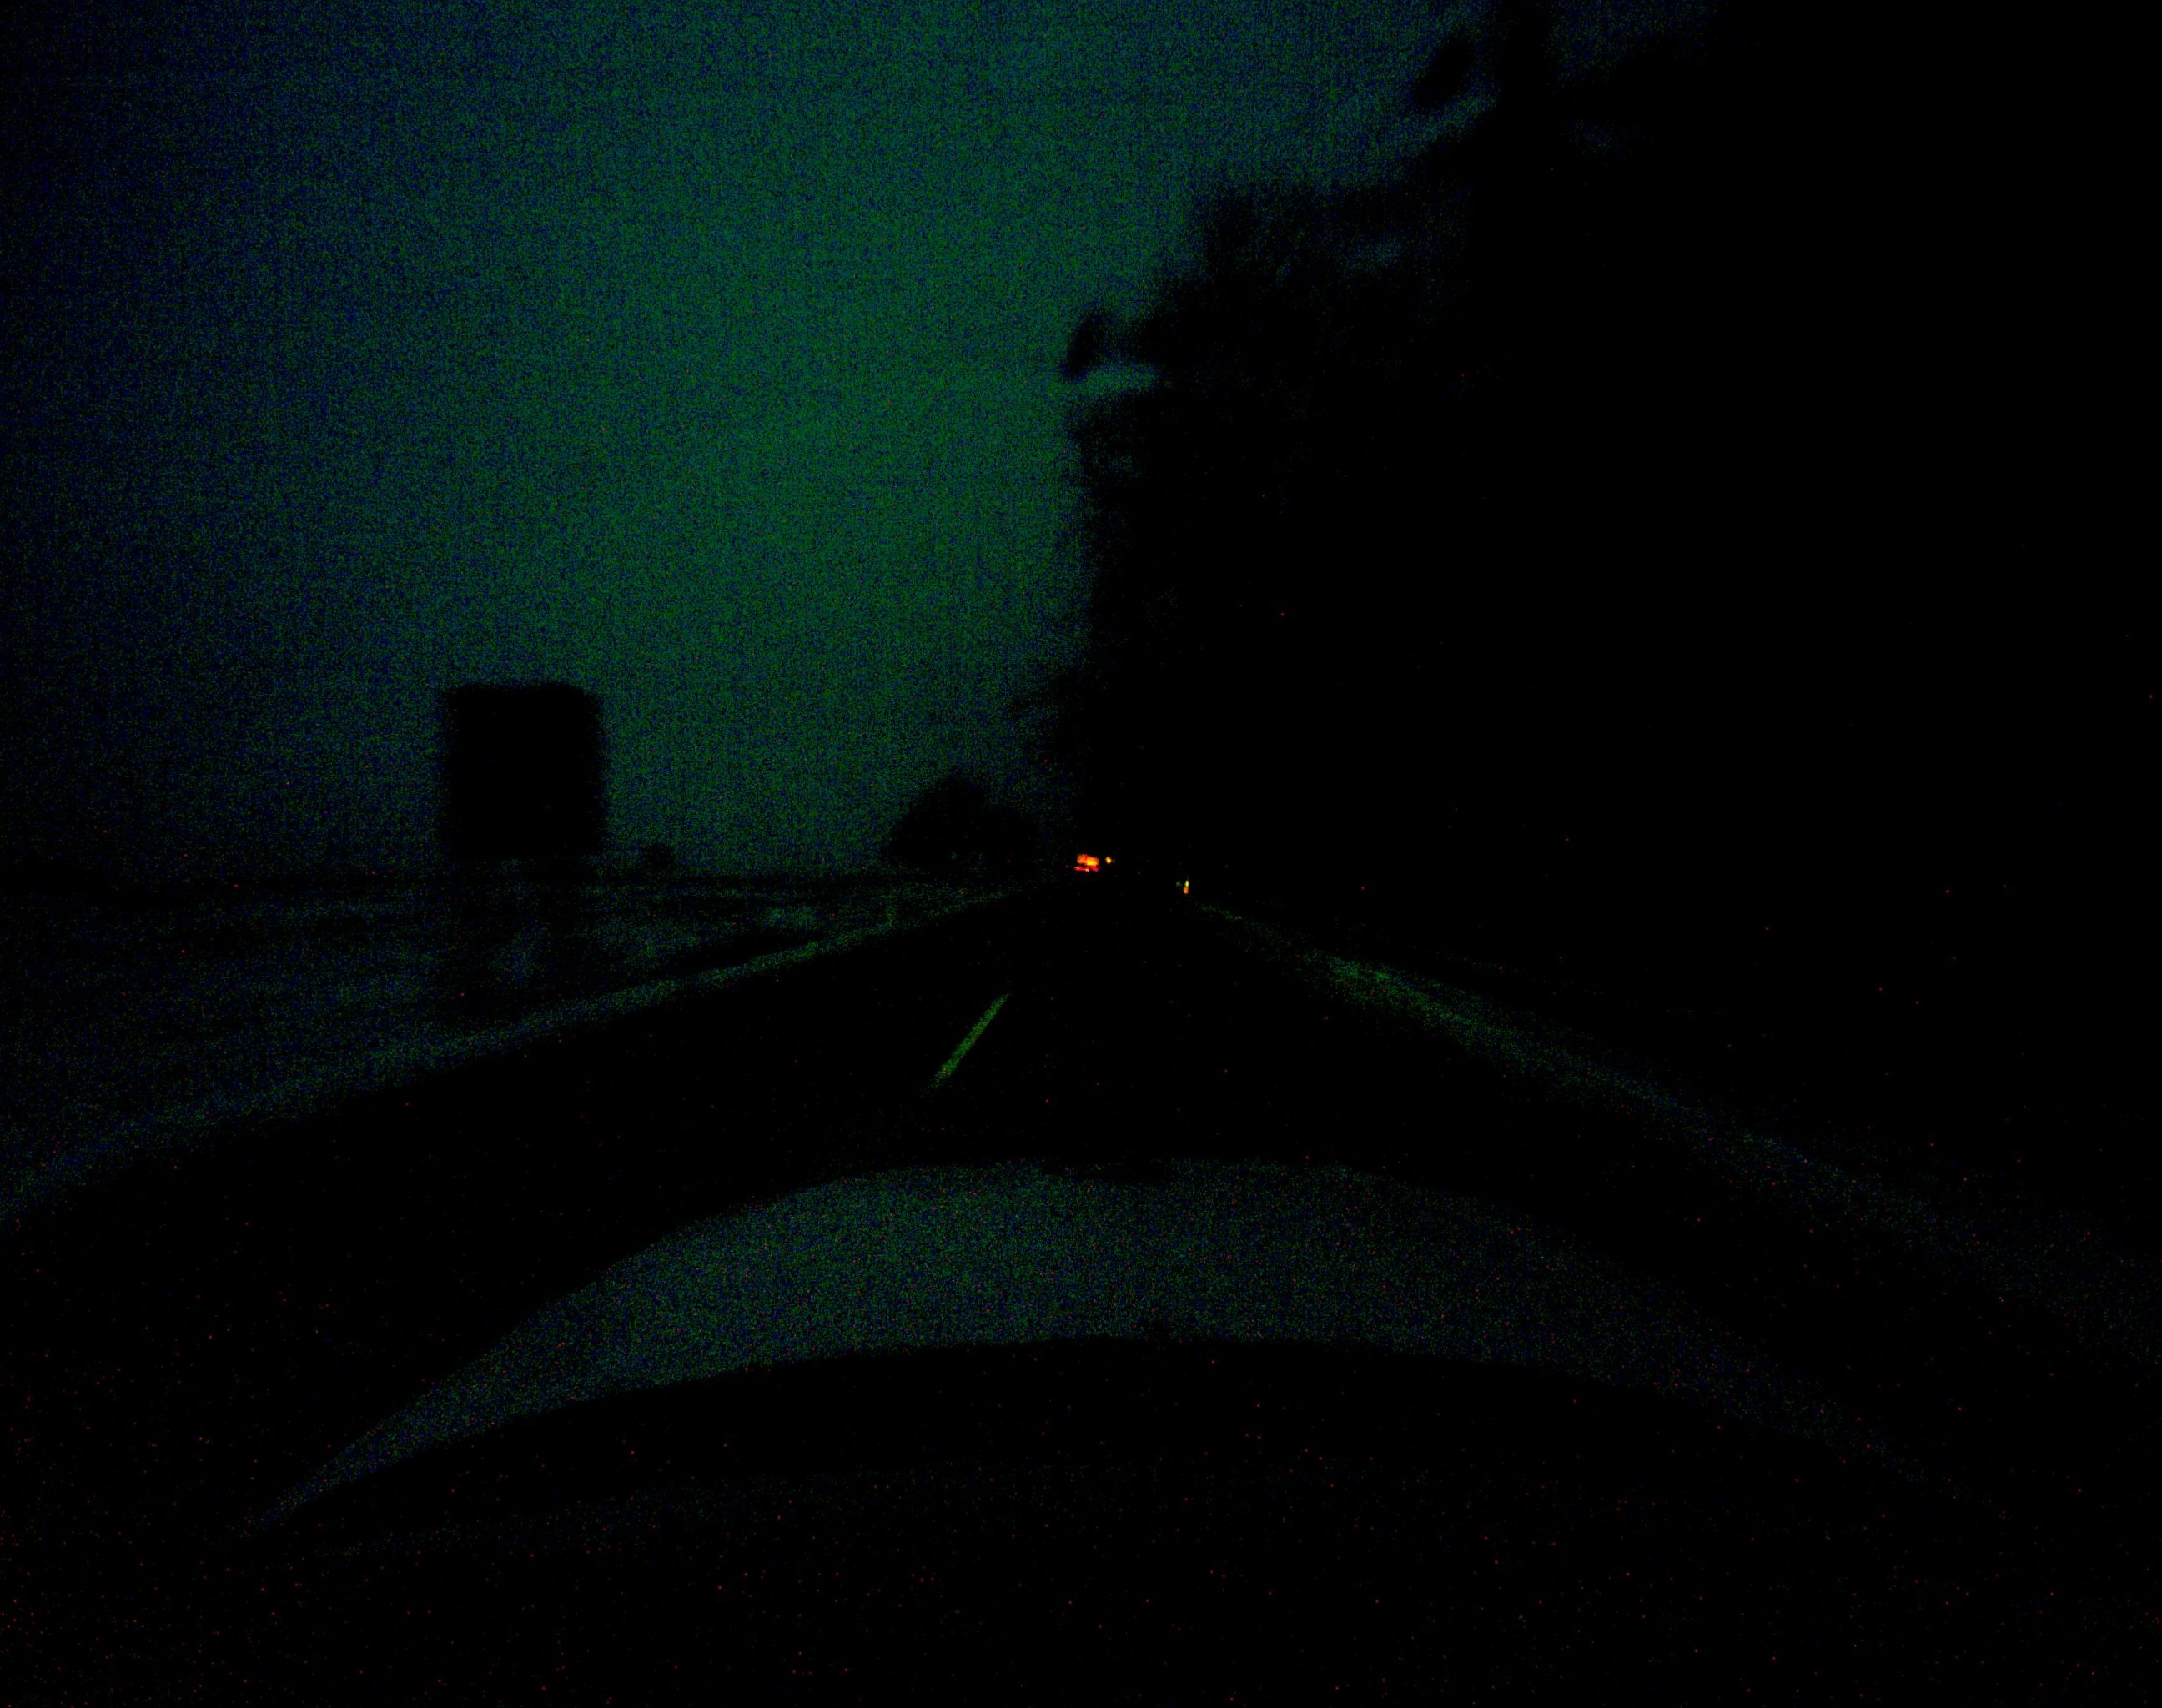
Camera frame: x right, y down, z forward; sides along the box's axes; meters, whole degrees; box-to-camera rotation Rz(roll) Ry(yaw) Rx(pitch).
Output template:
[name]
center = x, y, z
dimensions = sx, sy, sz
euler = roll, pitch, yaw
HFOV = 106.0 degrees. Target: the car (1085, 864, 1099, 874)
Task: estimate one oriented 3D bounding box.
[car]
center = 1.694, 2.274, 122.578
dimensions = 1.987, 1.420, 4.000
euler = -3, 0, 0
